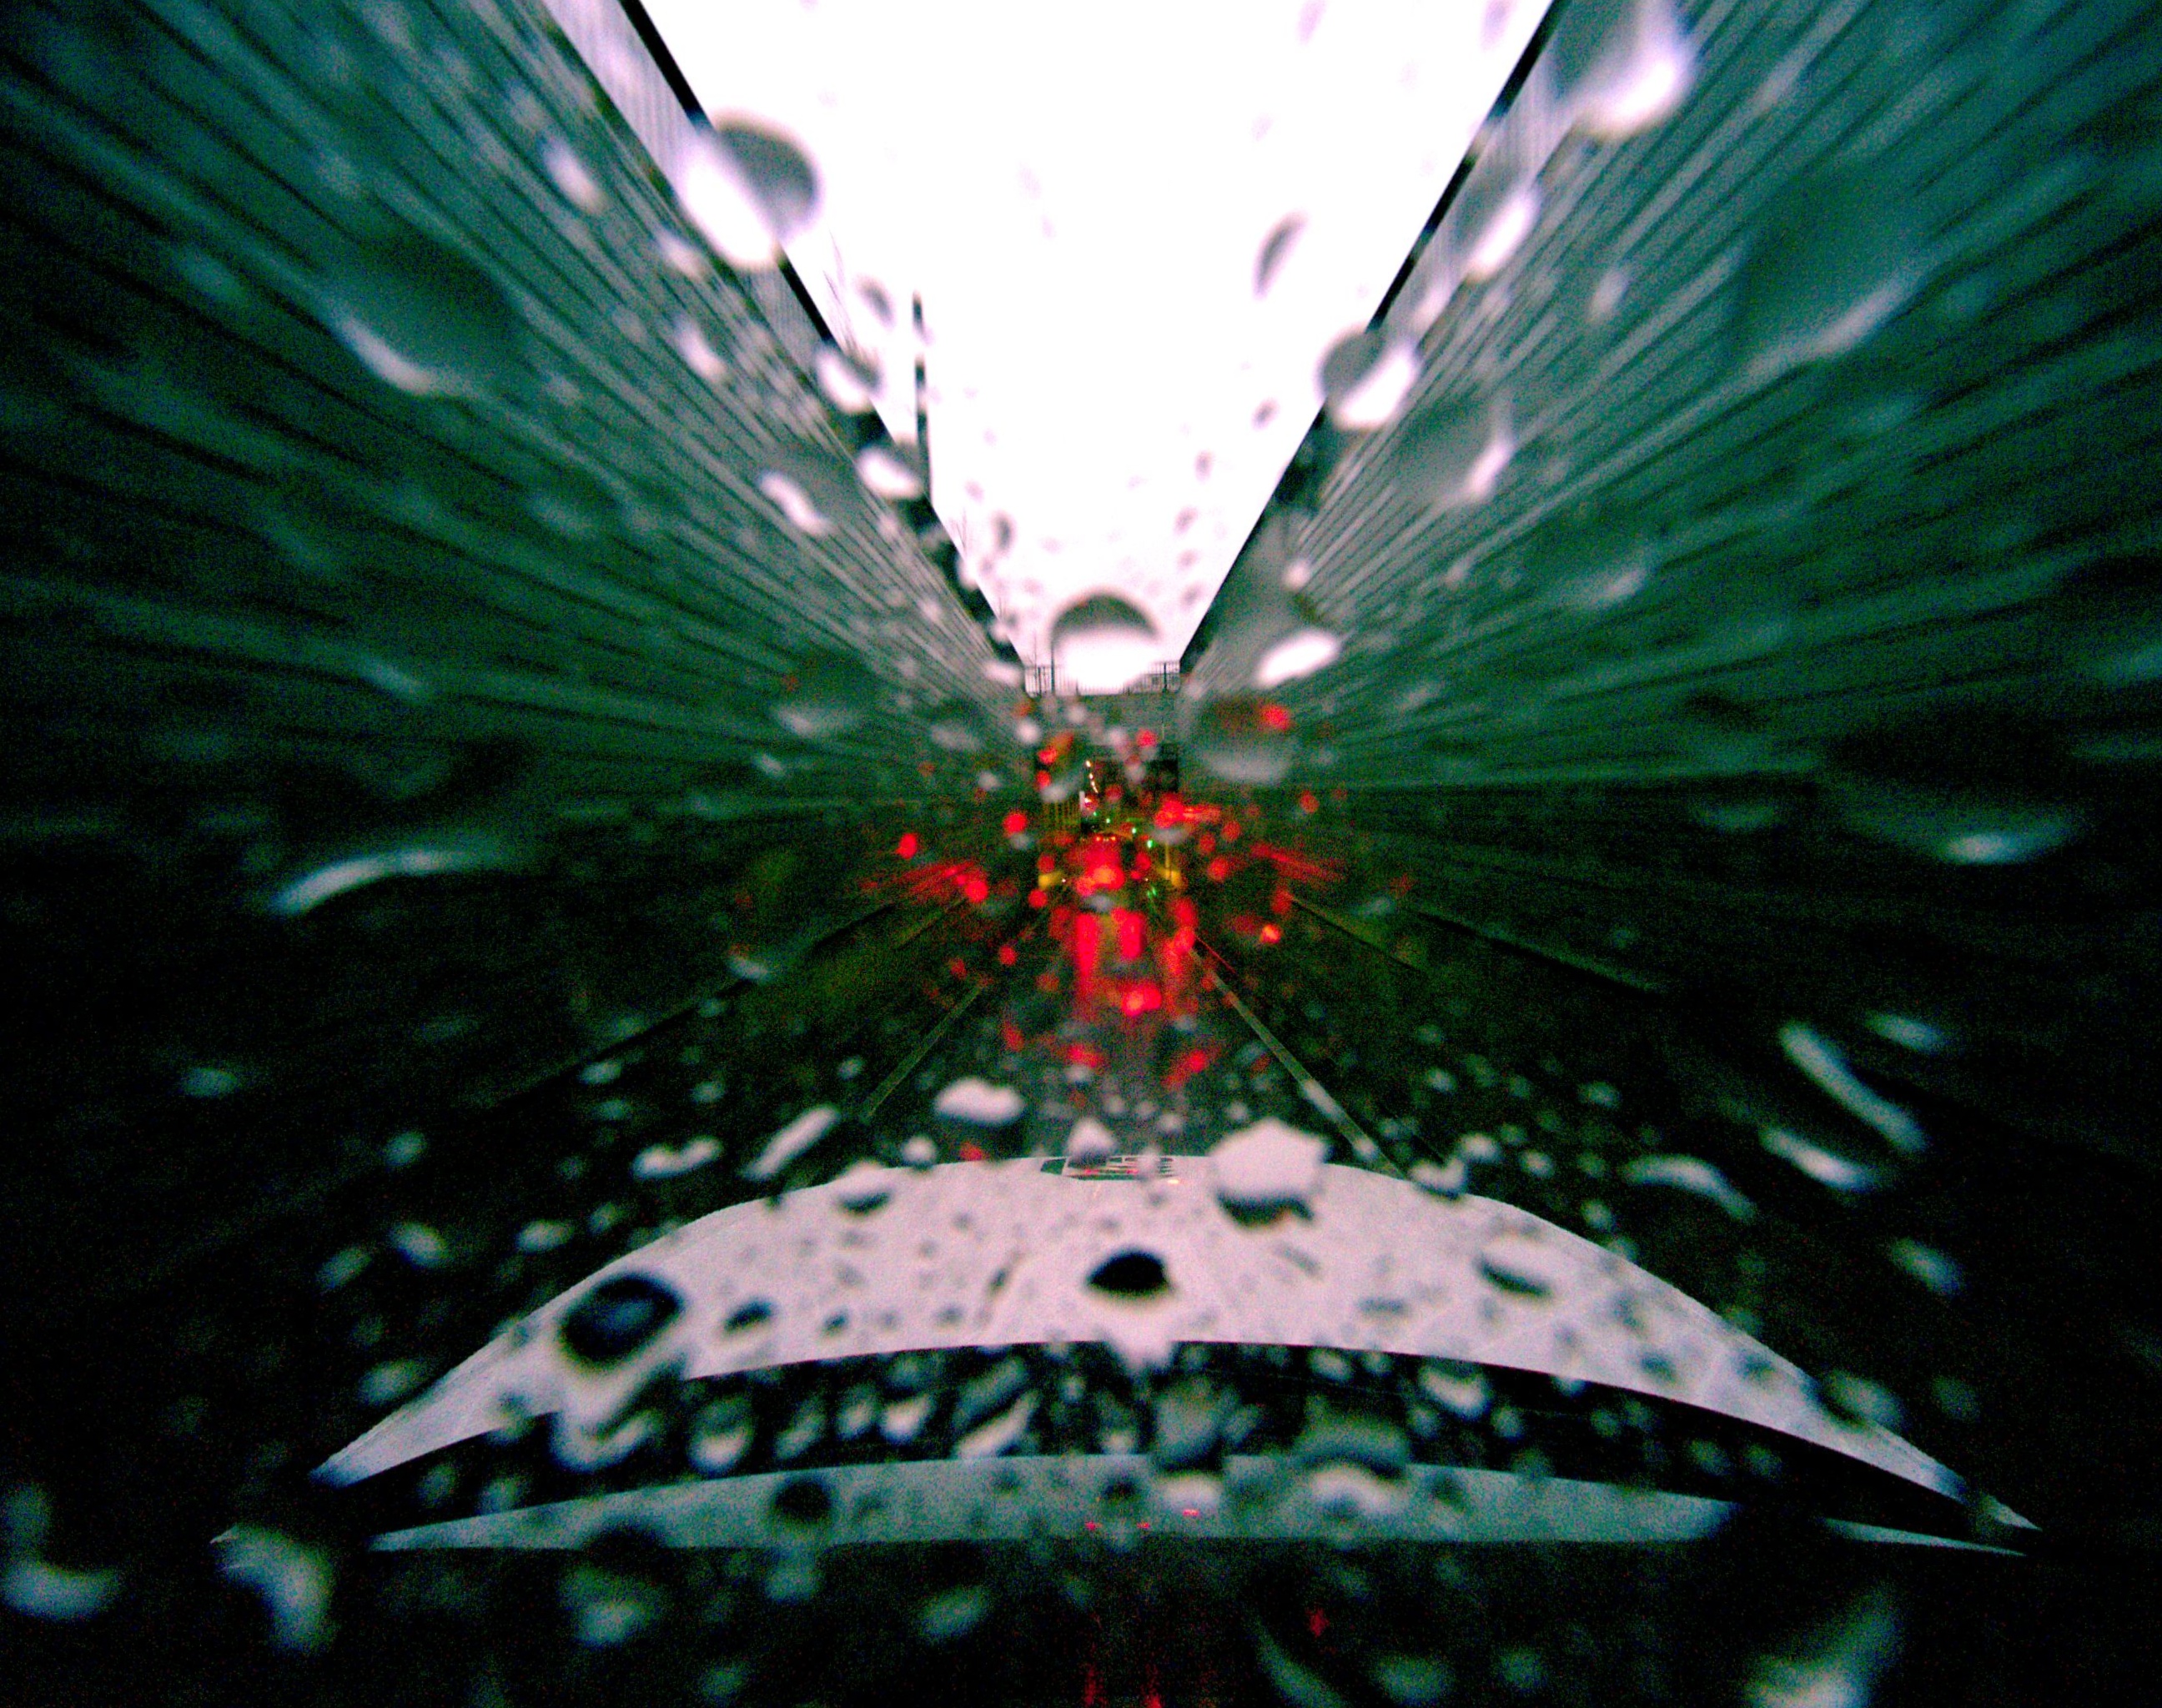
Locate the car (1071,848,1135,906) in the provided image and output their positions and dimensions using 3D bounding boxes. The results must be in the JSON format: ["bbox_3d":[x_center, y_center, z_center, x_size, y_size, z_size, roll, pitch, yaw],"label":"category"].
[{"bbox_3d":[0.697,0.607,23.860,1.715,1.479,4.004,0,1,3],"label":"car"}]

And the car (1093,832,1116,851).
[{"bbox_3d":[2.016,-1.129,70.430,1.913,1.485,4.001,0,3,0],"label":"car"}]
